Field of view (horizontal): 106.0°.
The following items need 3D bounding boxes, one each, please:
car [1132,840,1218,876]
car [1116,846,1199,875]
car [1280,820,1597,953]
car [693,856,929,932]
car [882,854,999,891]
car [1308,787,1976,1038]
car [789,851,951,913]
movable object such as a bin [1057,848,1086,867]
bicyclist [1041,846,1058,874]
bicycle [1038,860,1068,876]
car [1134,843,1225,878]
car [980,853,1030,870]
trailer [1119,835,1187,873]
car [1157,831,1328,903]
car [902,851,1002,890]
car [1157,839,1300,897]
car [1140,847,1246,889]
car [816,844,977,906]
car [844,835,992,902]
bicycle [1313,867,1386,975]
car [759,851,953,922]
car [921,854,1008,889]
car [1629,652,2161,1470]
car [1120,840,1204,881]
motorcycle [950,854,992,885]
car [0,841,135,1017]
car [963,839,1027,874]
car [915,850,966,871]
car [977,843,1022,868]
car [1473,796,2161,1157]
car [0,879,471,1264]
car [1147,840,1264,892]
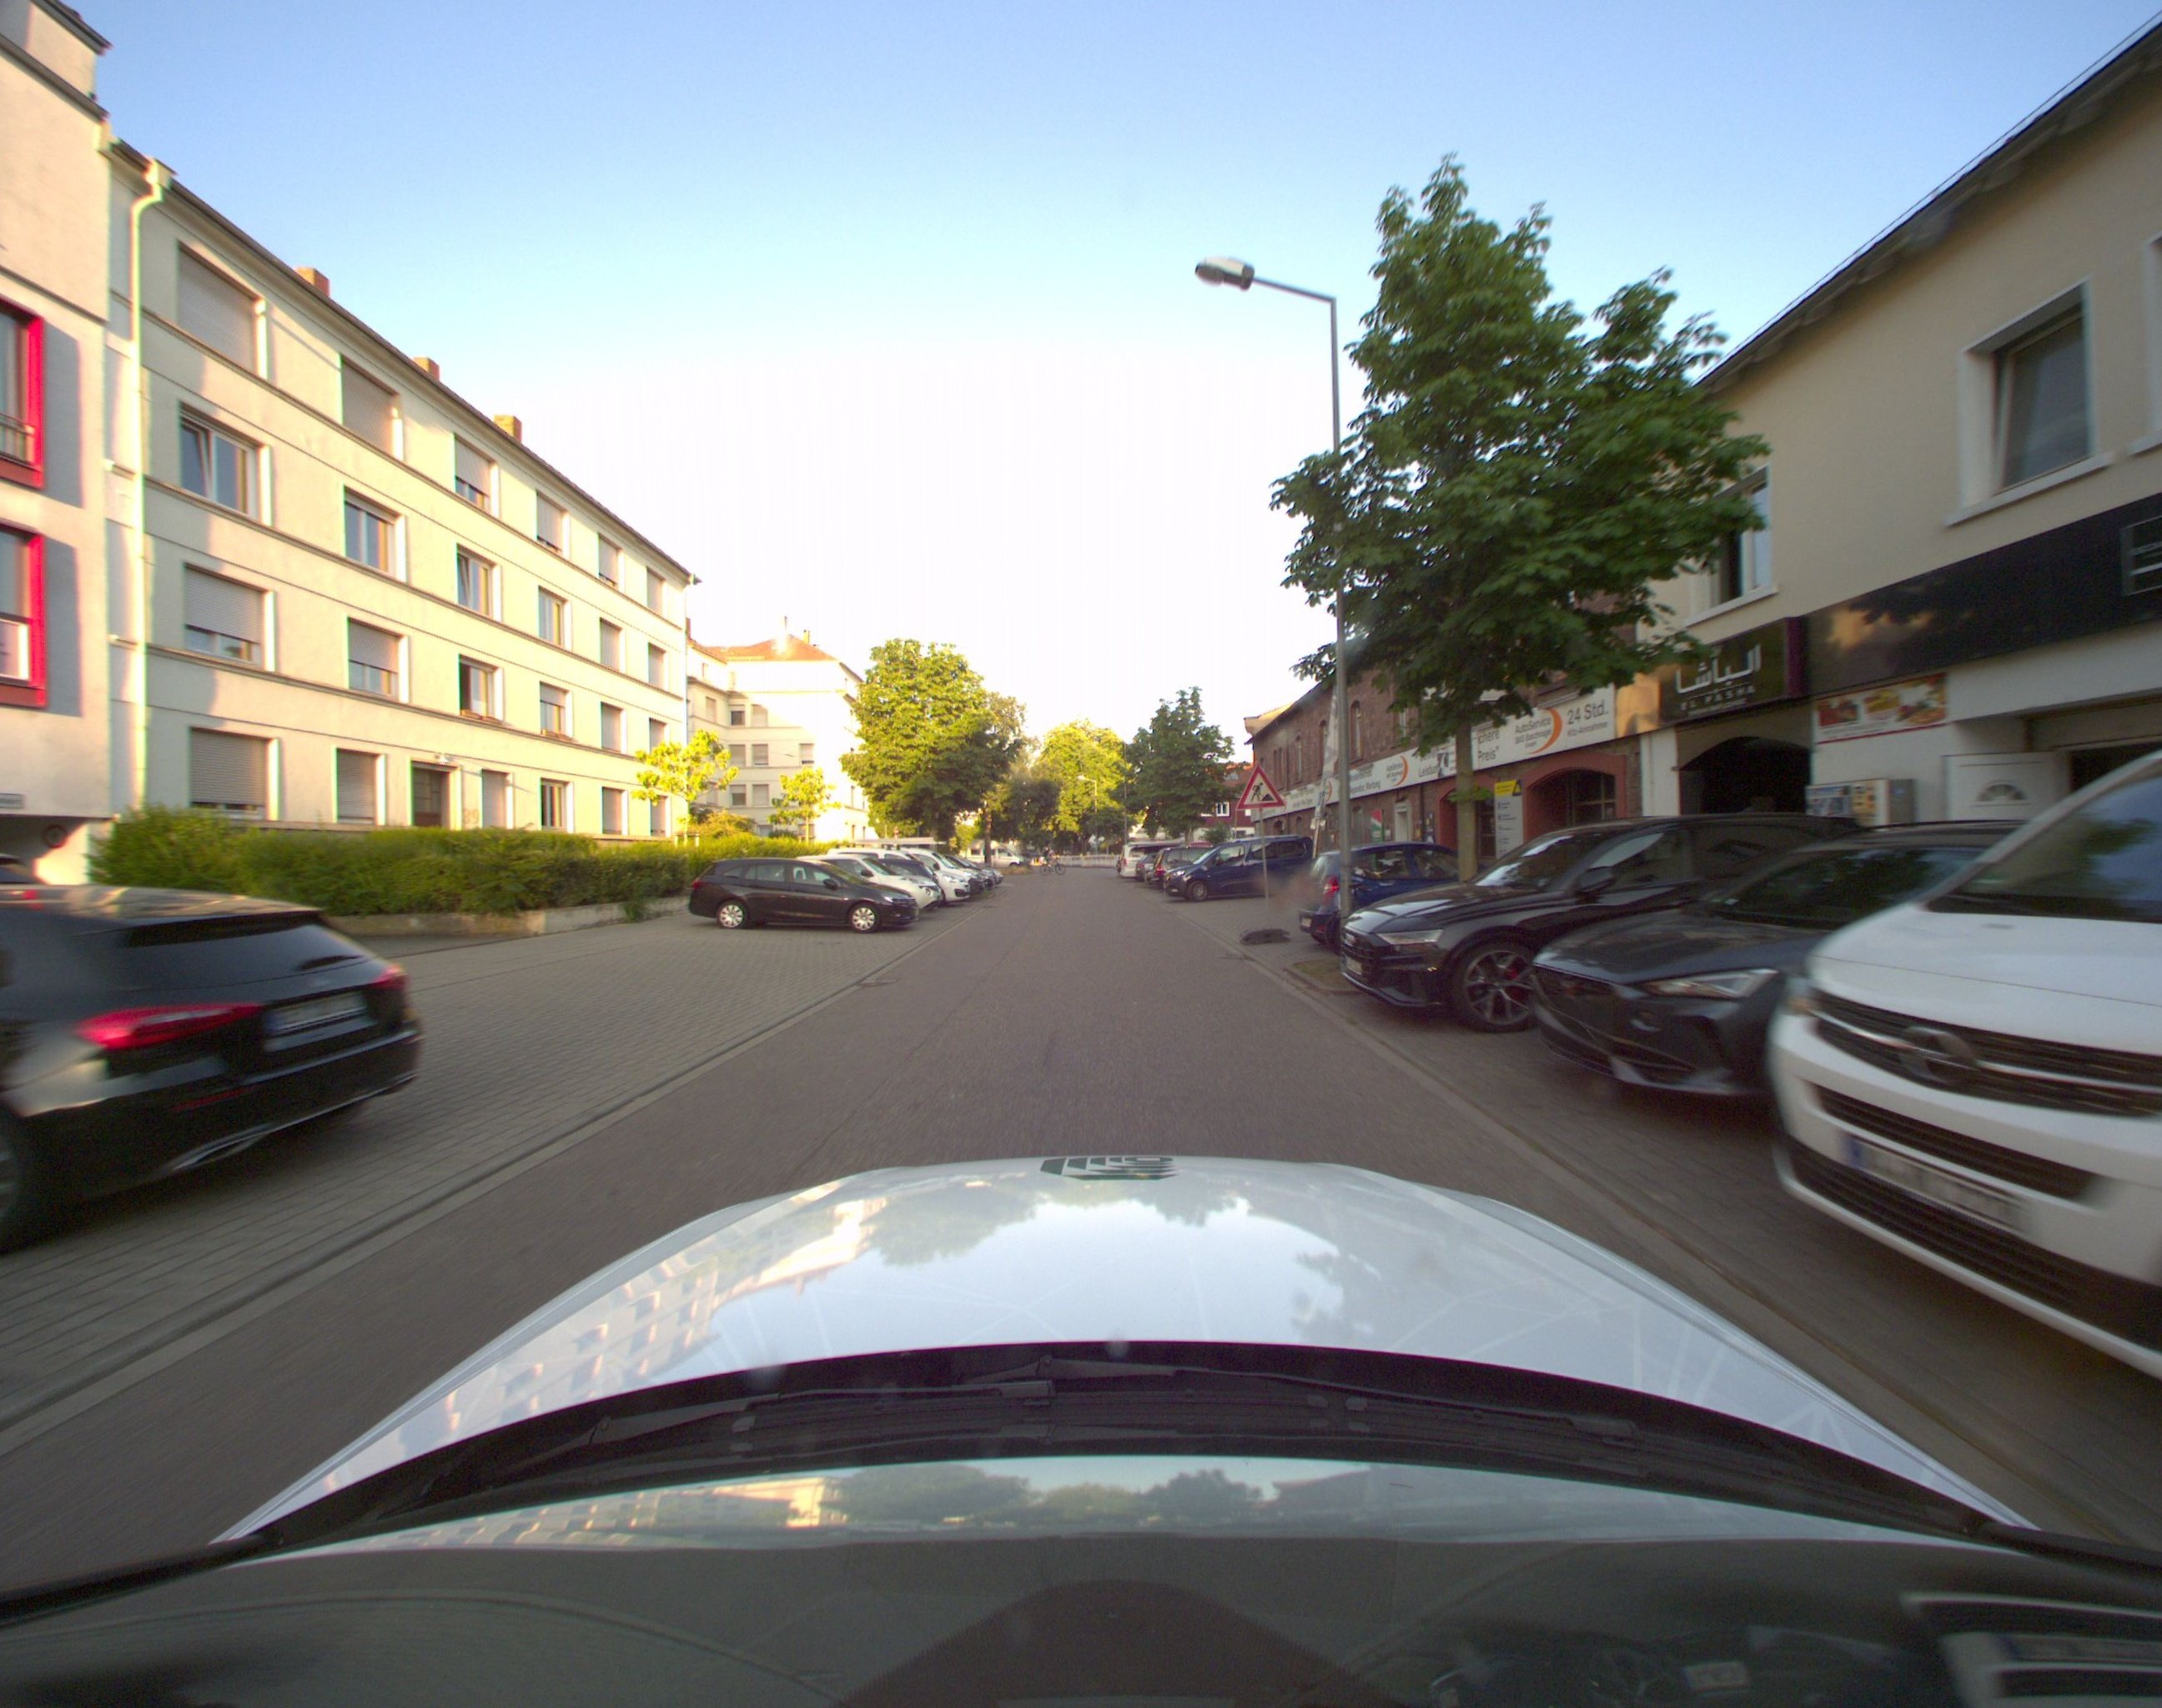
[{"bbox_3d":[4.892,0.216,42.887,4.288,1.799,1.903,-1,0,-1],"label":"car"},{"bbox_3d":[4.223,0.365,45.280,4.414,1.499,1.772,-1,0,-1],"label":"car"},{"bbox_3d":[5.313,0.464,12.506,3.974,1.545,1.845,-5,0,0],"label":"car"},{"bbox_3d":[-5.611,0.822,17.367,4.397,1.452,1.826,1,0,-2],"label":"car"},{"bbox_3d":[-5.588,0.719,32.769,4.311,1.405,1.852,1,0,1],"label":"car"},{"bbox_3d":[4.748,0.472,7.527,4.677,1.631,2.001,-5,0,2],"label":"car"},{"bbox_3d":[-5.762,0.740,22.568,3.976,1.484,1.755,2,0,-2],"label":"car"},{"bbox_3d":[-1.308,0.513,108.249,2.633,2.403,5.170,-1,0,-15],"label":"movable object such as a bin"},{"bbox_3d":[-2.011,0.364,51.529,0.840,1.726,0.796,-1,0,-18],"label":"bicyclist"},{"bbox_3d":[-1.755,0.888,51.596,1.864,0.998,0.371,-1,0,-19],"label":"bicycle"},{"bbox_3d":[4.494,0.311,37.608,3.975,1.510,1.775,-1,0,-1],"label":"car"},{"bbox_3d":[-6.517,0.672,70.048,4.233,1.394,1.683,0,0,-3],"label":"car"},{"bbox_3d":[4.389,0.002,49.918,3.975,2.187,1.999,-1,0,-1],"label":"trailer"},{"bbox_3d":[4.879,0.360,25.164,4.773,1.753,2.016,-5,1,-2],"label":"car"},{"bbox_3d":[-5.493,0.706,35.128,3.973,1.583,1.729,-1,0,1],"label":"car"},{"bbox_3d":[4.974,0.436,27.899,4.403,1.574,1.980,-5,1,-2],"label":"car"},{"bbox_3d":[4.490,0.551,32.995,3.938,1.565,1.818,-1,0,-5],"label":"car"},{"bbox_3d":[-5.545,0.608,24.895,4.404,1.802,1.944,1,0,2],"label":"car"},{"bbox_3d":[-5.445,0.445,27.626,4.494,2.070,2.002,2,1,3],"label":"car"},{"bbox_3d":[3.299,0.772,10.126,0.307,1.192,1.762,-1,0,0],"label":"bicycle"},{"bbox_3d":[-5.420,0.761,19.998,4.229,1.621,1.813,0,0,0],"label":"car"},{"bbox_3d":[-5.313,0.802,37.545,3.700,1.506,1.690,-1,0,1],"label":"car"},{"bbox_3d":[4.735,0.336,2.554,4.569,1.862,2.013,-4,0,2],"label":"car"},{"bbox_3d":[3.979,0.307,40.485,3.976,1.904,1.999,-1,0,-2],"label":"car"},{"bbox_3d":[-5.285,0.747,39.177,1.983,1.436,0.720,-1,0,-6],"label":"motorcycle"},{"bbox_3d":[-12.022,0.726,7.520,3.981,1.634,1.996,-1,0,-5],"label":"car"},{"bbox_3d":[-6.708,0.198,63.662,4.716,2.569,2.000,-1,0,0],"label":"car"},{"bbox_3d":[-13.358,0.642,77.658,4.671,1.873,1.994,-1,0,-9],"label":"car"},{"bbox_3d":[-8.284,0.179,82.894,4.499,2.431,1.994,-1,0,-8],"label":"car"},{"bbox_3d":[4.837,0.562,4.883,3.972,1.496,1.893,-5,0,2],"label":"car"},{"bbox_3d":[-5.739,0.863,3.937,4.129,1.416,1.736,1,0,-4],"label":"car"},{"bbox_3d":[4.617,0.437,30.584,3.976,1.618,1.894,-4,0,-2],"label":"car"}]
